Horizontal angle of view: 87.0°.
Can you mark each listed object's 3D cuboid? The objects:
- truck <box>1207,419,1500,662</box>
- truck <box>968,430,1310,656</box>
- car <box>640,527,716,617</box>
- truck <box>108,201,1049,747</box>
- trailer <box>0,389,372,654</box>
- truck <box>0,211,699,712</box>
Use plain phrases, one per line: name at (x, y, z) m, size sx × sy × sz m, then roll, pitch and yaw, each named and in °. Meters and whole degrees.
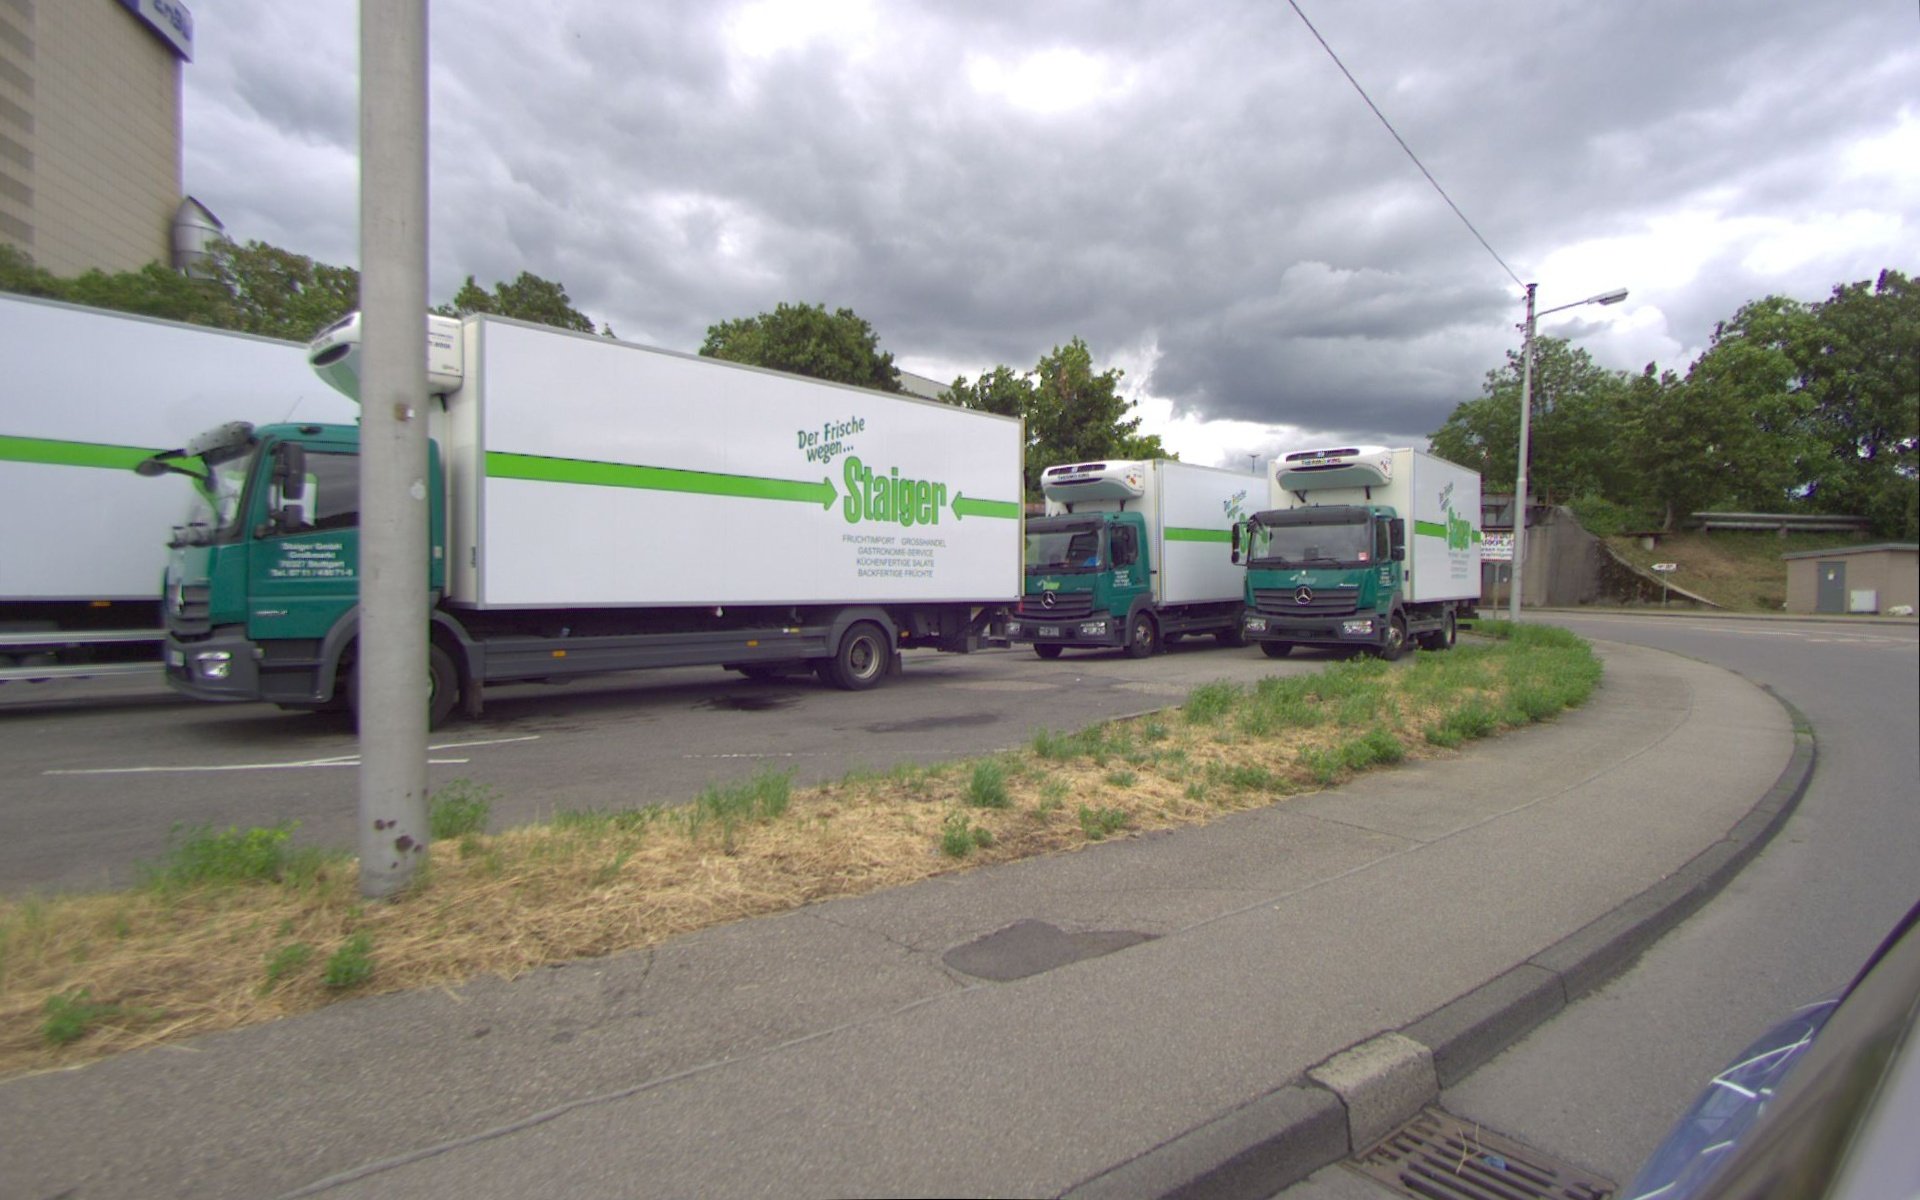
truck at (8.000, -0.987, 19.673) m, size 3.056 × 3.676 × 8.489 m, roll 0°, pitch 1°, yaw 38°
truck at (4.032, -0.950, 20.664) m, size 3.057 × 3.677 × 8.484 m, roll -3°, pitch -1°, yaw 39°
car at (-9.538, -0.959, 34.696) m, size 1.982 × 2.813 × 5.912 m, roll 0°, pitch 2°, yaw -10°
truck at (-3.217, -0.897, 12.020) m, size 2.977 × 3.879 × 10.274 m, roll 0°, pitch 0°, yaw 42°
trailer at (-16.393, -1.234, 15.399) m, size 3.041 × 4.027 × 12.951 m, roll 2°, pitch 1°, yaw 32°
truck at (-8.281, -1.283, 11.847) m, size 2.973 × 4.489 × 10.411 m, roll 0°, pitch 1°, yaw 39°
